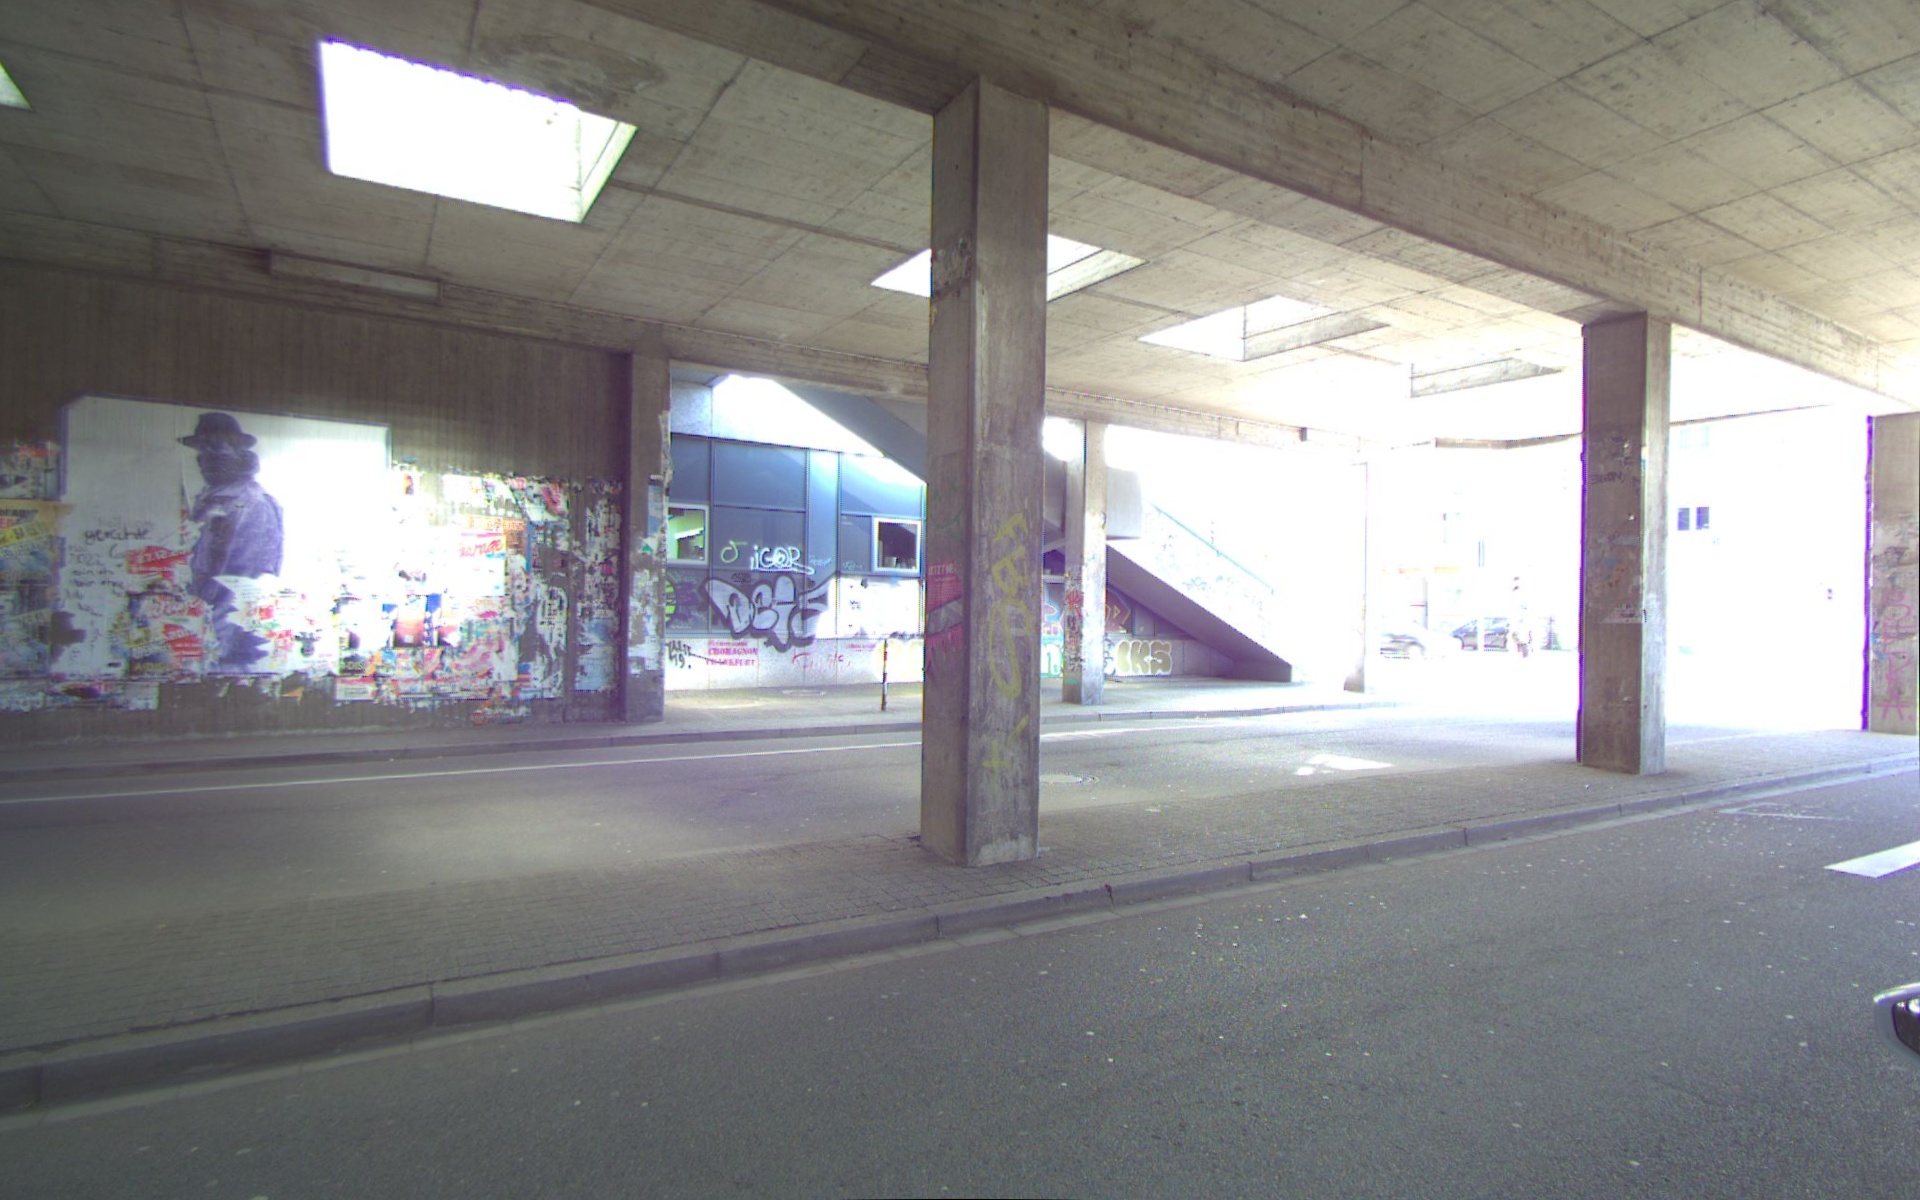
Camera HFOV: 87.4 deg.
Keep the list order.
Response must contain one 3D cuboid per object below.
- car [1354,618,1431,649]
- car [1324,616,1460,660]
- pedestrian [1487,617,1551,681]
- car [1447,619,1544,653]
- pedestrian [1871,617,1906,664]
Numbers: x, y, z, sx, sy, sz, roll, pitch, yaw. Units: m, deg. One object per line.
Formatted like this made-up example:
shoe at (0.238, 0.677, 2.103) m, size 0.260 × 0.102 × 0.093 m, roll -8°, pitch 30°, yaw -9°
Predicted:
car at (22.616, 1.734, 52.593) m, size 1.543 × 1.526 × 3.518 m, roll 1°, pitch -1°, yaw -29°
car at (16.441, 1.411, 38.512) m, size 1.973 × 1.554 × 4.704 m, roll 0°, pitch -1°, yaw -25°
pedestrian at (15.811, 1.361, 28.438) m, size 1.123 × 1.760 × 1.111 m, roll 1°, pitch -1°, yaw -17°
car at (25.423, 1.679, 47.758) m, size 1.732 × 1.528 × 3.735 m, roll 1°, pitch -1°, yaw -31°
pedestrian at (34.928, 1.518, 37.780) m, size 0.710 × 1.727 × 0.624 m, roll 2°, pitch 0°, yaw -9°
